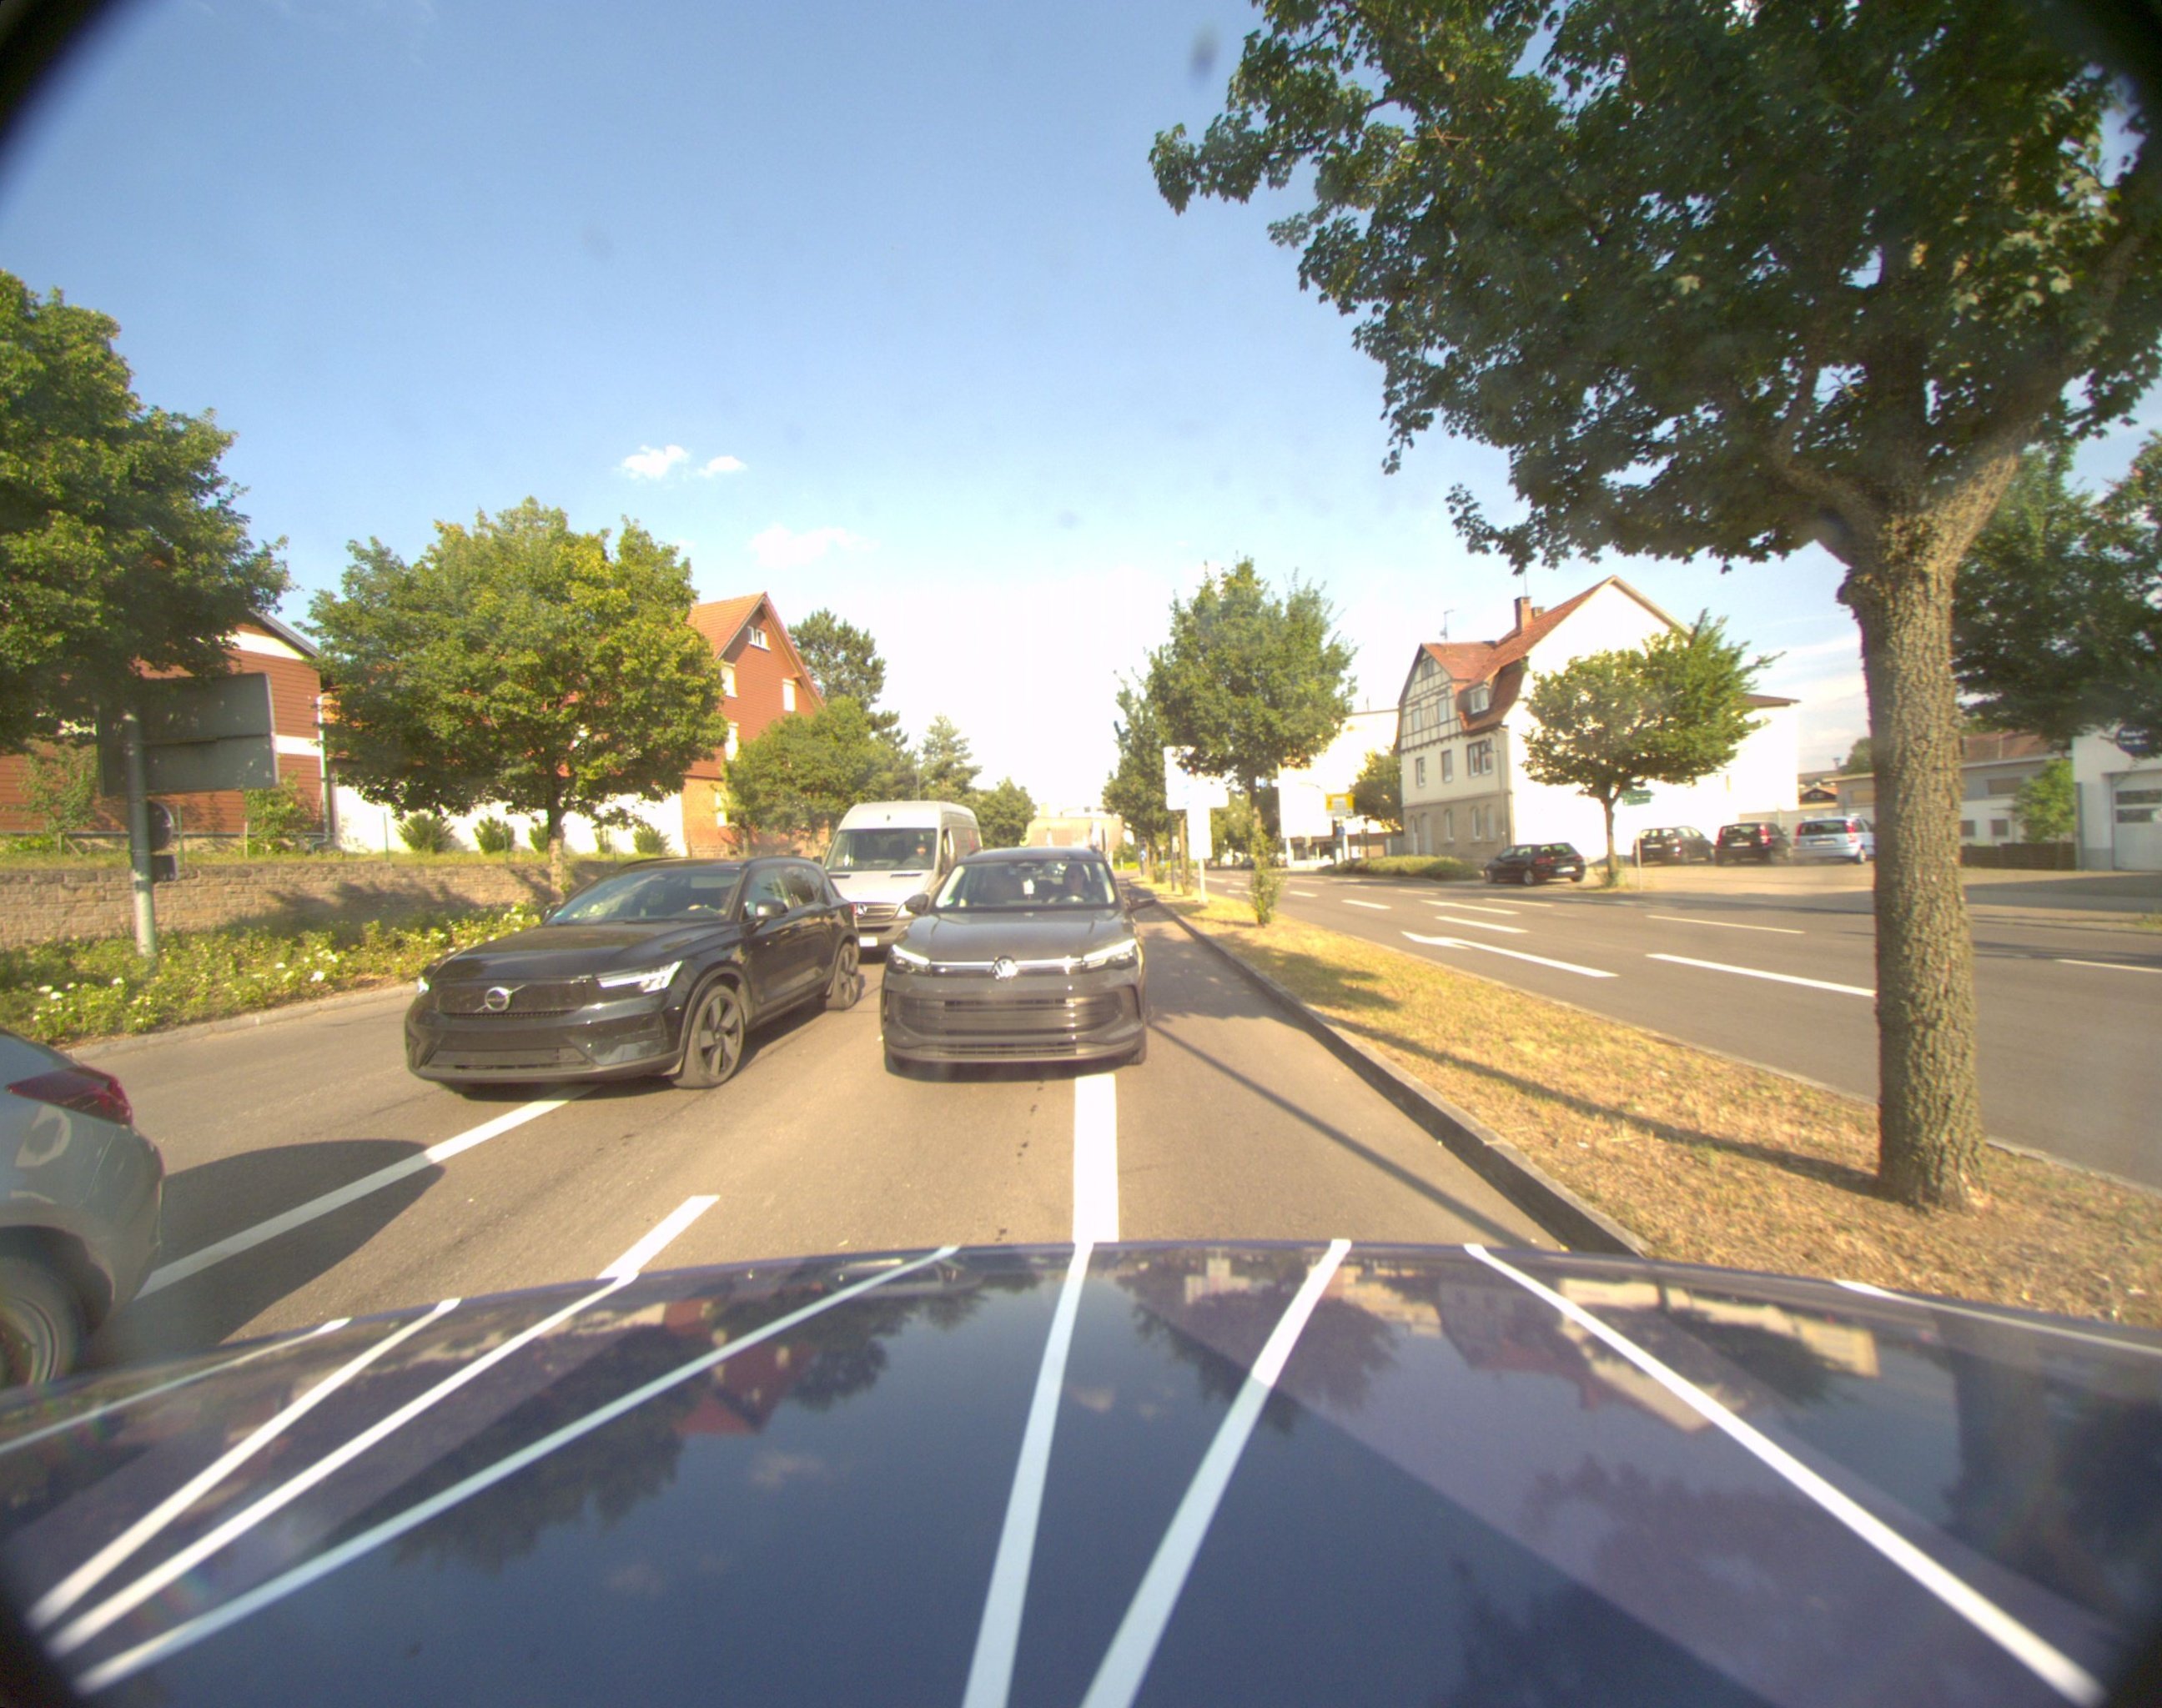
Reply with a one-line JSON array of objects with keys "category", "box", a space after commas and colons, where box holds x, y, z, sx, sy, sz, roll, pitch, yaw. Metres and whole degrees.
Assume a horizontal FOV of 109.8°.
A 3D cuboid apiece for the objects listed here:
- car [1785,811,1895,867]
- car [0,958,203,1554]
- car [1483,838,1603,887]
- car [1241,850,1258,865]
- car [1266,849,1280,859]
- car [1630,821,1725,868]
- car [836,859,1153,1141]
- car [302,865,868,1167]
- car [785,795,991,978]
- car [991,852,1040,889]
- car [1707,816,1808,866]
[{"category": "car", "box": [24.879, -0.505, 24.891, 3.830, 1.493, 1.816, -5, 0, -35]}, {"category": "car", "box": [-3.613, 1.063, 0.182, 1.766, 1.445, 4.318, -1, 0, 0]}, {"category": "car", "box": [16.033, 0.279, 26.619, 1.818, 1.442, 3.825, -5, 0, 1]}, {"category": "car", "box": [20.735, 0.371, 93.347, 1.779, 1.683, 4.004, -2, 0, 15]}, {"category": "car", "box": [35.323, 0.068, 139.755, 1.779, 1.683, 4.006, -2, 0, 22]}, {"category": "car", "box": [23.378, -0.394, 29.754, 3.830, 1.493, 1.816, -5, 0, -35]}, {"category": "car", "box": [-0.451, 0.874, 6.618, 1.845, 1.600, 4.318, -1, 0, 2]}, {"category": "car", "box": [-3.399, 0.949, 6.429, 1.845, 1.600, 4.318, -1, 0, 2]}, {"category": "car", "box": [-3.071, 0.454, 13.714, 1.992, 2.554, 6.046, -1, 0, 2]}, {"category": "car", "box": [-3.049, 0.736, 36.088, 1.845, 1.600, 4.318, -1, 0, 2]}, {"category": "car", "box": [24.657, -0.492, 27.657, 3.830, 1.493, 1.816, -5, 0, -35]}]
